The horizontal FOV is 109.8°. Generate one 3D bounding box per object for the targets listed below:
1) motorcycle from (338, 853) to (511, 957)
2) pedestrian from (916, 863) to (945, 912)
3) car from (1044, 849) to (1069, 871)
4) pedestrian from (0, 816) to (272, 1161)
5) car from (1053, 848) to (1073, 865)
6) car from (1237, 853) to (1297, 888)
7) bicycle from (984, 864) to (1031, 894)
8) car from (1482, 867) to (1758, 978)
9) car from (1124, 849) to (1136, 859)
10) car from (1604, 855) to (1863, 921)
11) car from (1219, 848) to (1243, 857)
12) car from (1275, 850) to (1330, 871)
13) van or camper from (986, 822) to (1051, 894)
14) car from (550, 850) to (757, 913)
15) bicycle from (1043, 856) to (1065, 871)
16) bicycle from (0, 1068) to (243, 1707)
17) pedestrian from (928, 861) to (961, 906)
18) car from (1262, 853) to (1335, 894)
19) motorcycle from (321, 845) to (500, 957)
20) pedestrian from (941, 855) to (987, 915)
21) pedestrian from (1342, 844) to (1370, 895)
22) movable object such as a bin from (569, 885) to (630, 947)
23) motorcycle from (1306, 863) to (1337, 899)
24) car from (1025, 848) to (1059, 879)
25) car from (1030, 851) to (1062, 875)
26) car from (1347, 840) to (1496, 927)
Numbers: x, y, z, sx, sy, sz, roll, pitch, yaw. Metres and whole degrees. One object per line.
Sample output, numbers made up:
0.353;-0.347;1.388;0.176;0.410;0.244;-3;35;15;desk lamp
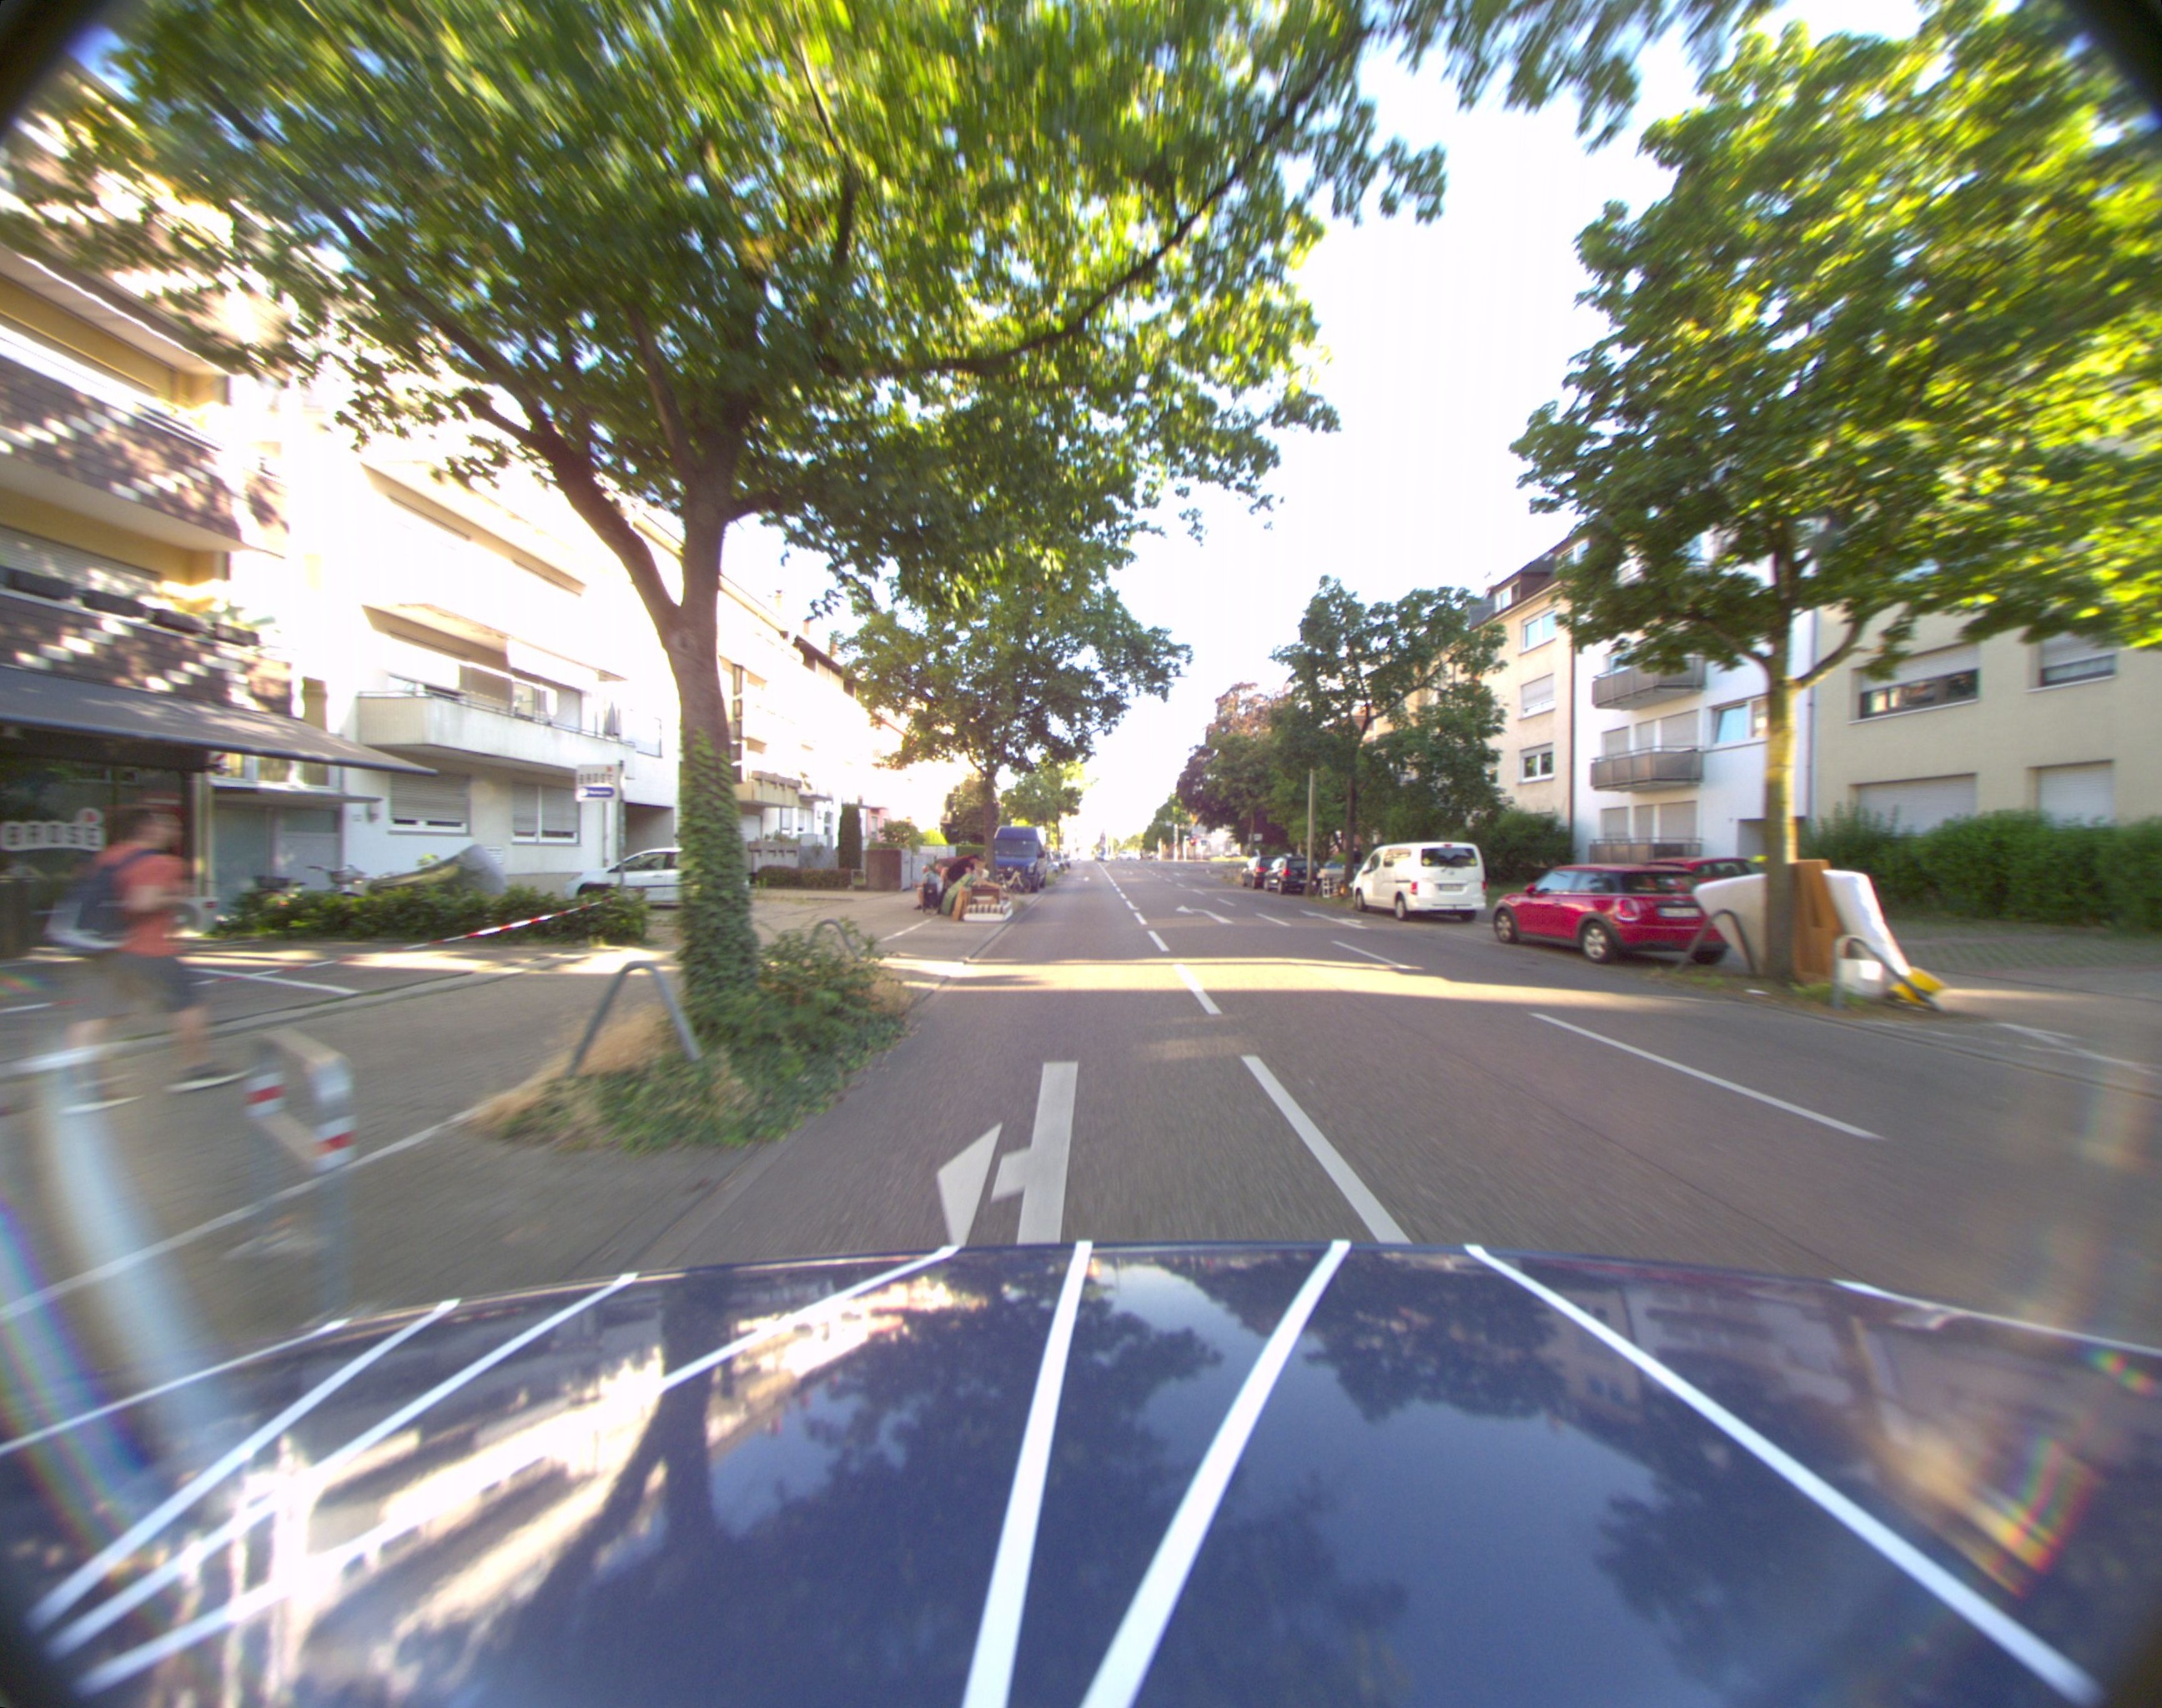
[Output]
-10.715;0.798;12.441;2.198;1.612;0.890;0;1;7;motorcycle
-3.943;0.870;19.897;0.655;1.247;0.656;0;1;-18;pedestrian
-1.853;0.421;58.264;1.736;1.641;4.291;0;0;1;car
-5.530;0.695;4.380;0.758;1.786;0.905;0;1;-4;pedestrian
-1.659;0.221;71.816;1.736;1.542;3.646;0;0;1;car
8.413;0.722;34.627;1.754;1.494;4.197;0;0;1;car
-2.700;0.912;27.980;1.705;1.083;0.404;0;1;4;bicycle
8.197;0.944;12.044;1.721;1.412;3.786;0;0;1;car
7.981;0.019;123.196;1.764;1.490;3.708;0;0;1;car
14.700;0.707;17.220;4.727;1.354;1.998;0;0;-12;car
25.577;-0.255;129.844;3.645;1.437;1.999;0;0;-4;car
16.479;0.477;56.625;3.507;1.477;1.815;0;0;-3;car
-2.462;0.101;31.285;2.073;2.660;5.989;0;1;1;van or camper
-10.294;0.642;18.545;3.998;1.453;1.824;0;0;-3;car
-1.912;0.644;54.107;1.482;1.053;0.411;0;1;-12;bicycle
-2.576;1.079;1.405;1.673;1.219;0.636;2;1;13;bicycle
-3.792;0.808;21.104;0.799;1.247;0.700;0;1;-2;pedestrian
8.472;0.727;29.924;1.754;1.494;3.978;0;0;1;car
-10.022;0.669;11.386;2.198;1.612;0.731;0;1;7;motorcycle
-2.929;0.762;19.017;1.066;1.468;0.478;0;1;-18;pedestrian
10.888;0.601;30.129;0.769;2.002;0.976;0;1;0;pedestrian
-7.698;0.976;12.166;0.614;0.944;0.539;0;1;1;movable object such as a bin
8.436;0.923;26.599;0.440;1.185;1.710;1;0;38;motorcycle
-2.149;0.506;42.733;1.777;1.633;3.756;0;1;-1;car
-2.204;0.530;47.931;1.925;1.477;4.744;0;0;-3;car
8.278;0.651;18.960;1.774;1.908;4.459;0;0;1;car
